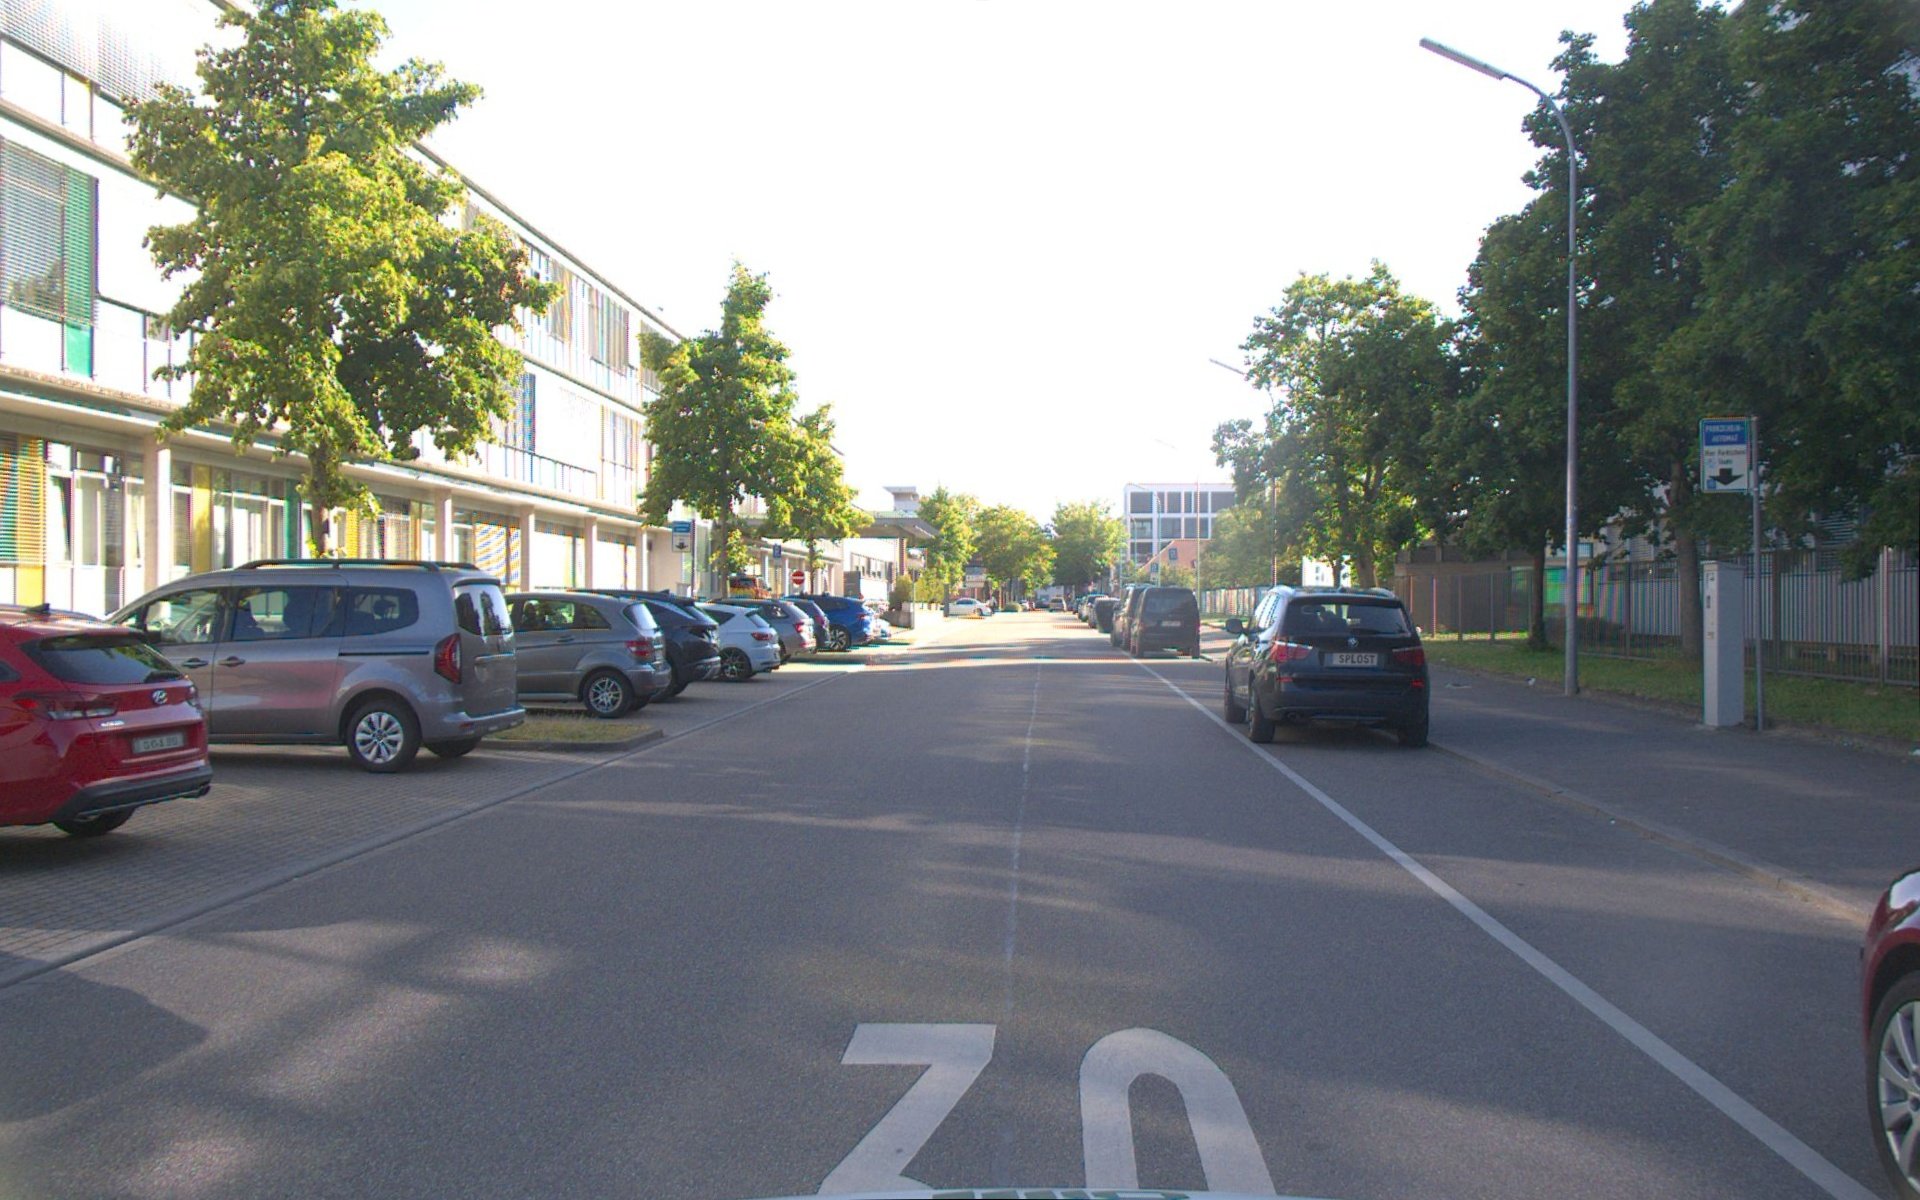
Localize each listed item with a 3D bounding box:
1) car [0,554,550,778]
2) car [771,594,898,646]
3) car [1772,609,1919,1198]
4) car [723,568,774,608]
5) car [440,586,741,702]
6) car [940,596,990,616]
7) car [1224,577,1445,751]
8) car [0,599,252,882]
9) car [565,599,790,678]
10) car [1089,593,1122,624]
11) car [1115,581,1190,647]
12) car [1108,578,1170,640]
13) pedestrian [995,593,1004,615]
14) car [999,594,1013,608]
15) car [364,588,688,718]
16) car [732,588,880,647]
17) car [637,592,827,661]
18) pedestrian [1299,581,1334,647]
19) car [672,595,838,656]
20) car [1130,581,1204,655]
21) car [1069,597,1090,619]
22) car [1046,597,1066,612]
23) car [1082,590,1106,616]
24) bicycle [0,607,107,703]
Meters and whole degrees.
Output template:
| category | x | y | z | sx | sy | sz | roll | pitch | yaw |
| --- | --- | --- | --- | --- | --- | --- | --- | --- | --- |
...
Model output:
| category | x | y | z | sx | sy | sz | roll | pitch | yaw |
| --- | --- | --- | --- | --- | --- | --- | --- | --- | --- |
| car | -6.449 | 0.573 | 15.603 | 4.643 | 1.897 | 1.828 | 1 | 0 | 3 |
| car | -4.008 | 0.632 | 53.248 | 3.905 | 1.579 | 2.000 | 0 | 0 | 0 |
| car | 3.205 | 0.781 | 2.650 | 1.684 | 1.480 | 4.653 | 1 | 0 | 2 |
| car | -11.161 | -0.610 | 87.517 | 1.952 | 2.049 | 4.001 | 0 | -1 | 3 |
| car | -5.601 | 0.648 | 25.525 | 4.160 | 1.640 | 2.048 | 1 | 0 | -1 |
| car | 0.394 | 0.521 | 131.824 | 3.903 | 1.546 | 2.001 | 0 | -1 | 3 |
| car | 4.126 | 0.609 | 18.928 | 1.774 | 1.695 | 4.595 | 1 | 1 | 4 |
| car | -6.831 | 0.767 | 9.966 | 4.341 | 1.527 | 1.828 | 0 | 0 | 3 |
| car | -5.258 | 0.704 | 31.154 | 3.906 | 1.382 | 1.743 | 1 | 0 | -1 |
| car | 7.316 | 0.411 | 83.404 | 1.465 | 1.505 | 3.651 | -1 | 0 | 3 |
| car | 5.778 | 0.396 | 50.101 | 1.952 | 1.854 | 4.200 | -1 | 0 | 3 |
| car | 6.068 | 0.285 | 56.344 | 1.835 | 2.013 | 4.002 | -1 | 0 | 3 |
| pedestrian | 3.061 | 0.322 | 128.643 | 0.605 | 1.652 | 0.716 | -1 | 0 | 3 |
| car | 5.545 | 0.116 | 198.073 | 1.691 | 1.563 | 4.001 | -1 | 0 | 2 |
| car | -5.832 | 0.692 | 22.577 | 3.906 | 1.635 | 1.872 | 1 | 0 | -1 |
| car | -4.466 | 0.506 | 48.320 | 4.128 | 1.631 | 1.872 | 1 | 0 | -1 |
| car | -5.236 | 0.593 | 38.342 | 4.128 | 1.488 | 1.872 | 1 | 0 | -1 |
| pedestrian | 9.293 | 0.361 | 43.161 | 0.684 | 1.690 | 0.752 | -3 | 0 | 3 |
| car | -5.387 | 0.666 | 43.835 | 4.128 | 1.512 | 1.872 | 1 | 0 | -1 |
| car | 5.446 | 0.444 | 43.865 | 1.696 | 1.862 | 3.907 | 0 | 0 | 3 |
| car | 11.305 | 0.782 | 156.554 | 1.952 | 2.049 | 4.001 | 0 | -1 | 3 |
| car | 10.142 | 0.466 | 173.941 | 1.706 | 1.570 | 4.003 | 0 | 0 | 9 |
| car | 8.489 | 0.184 | 104.938 | 1.406 | 1.588 | 3.043 | 0 | 0 | 3 |
| bicycle | -12.038 | 0.675 | 20.730 | 0.852 | 1.174 | 2.371 | 1 | -1 | 24 |
